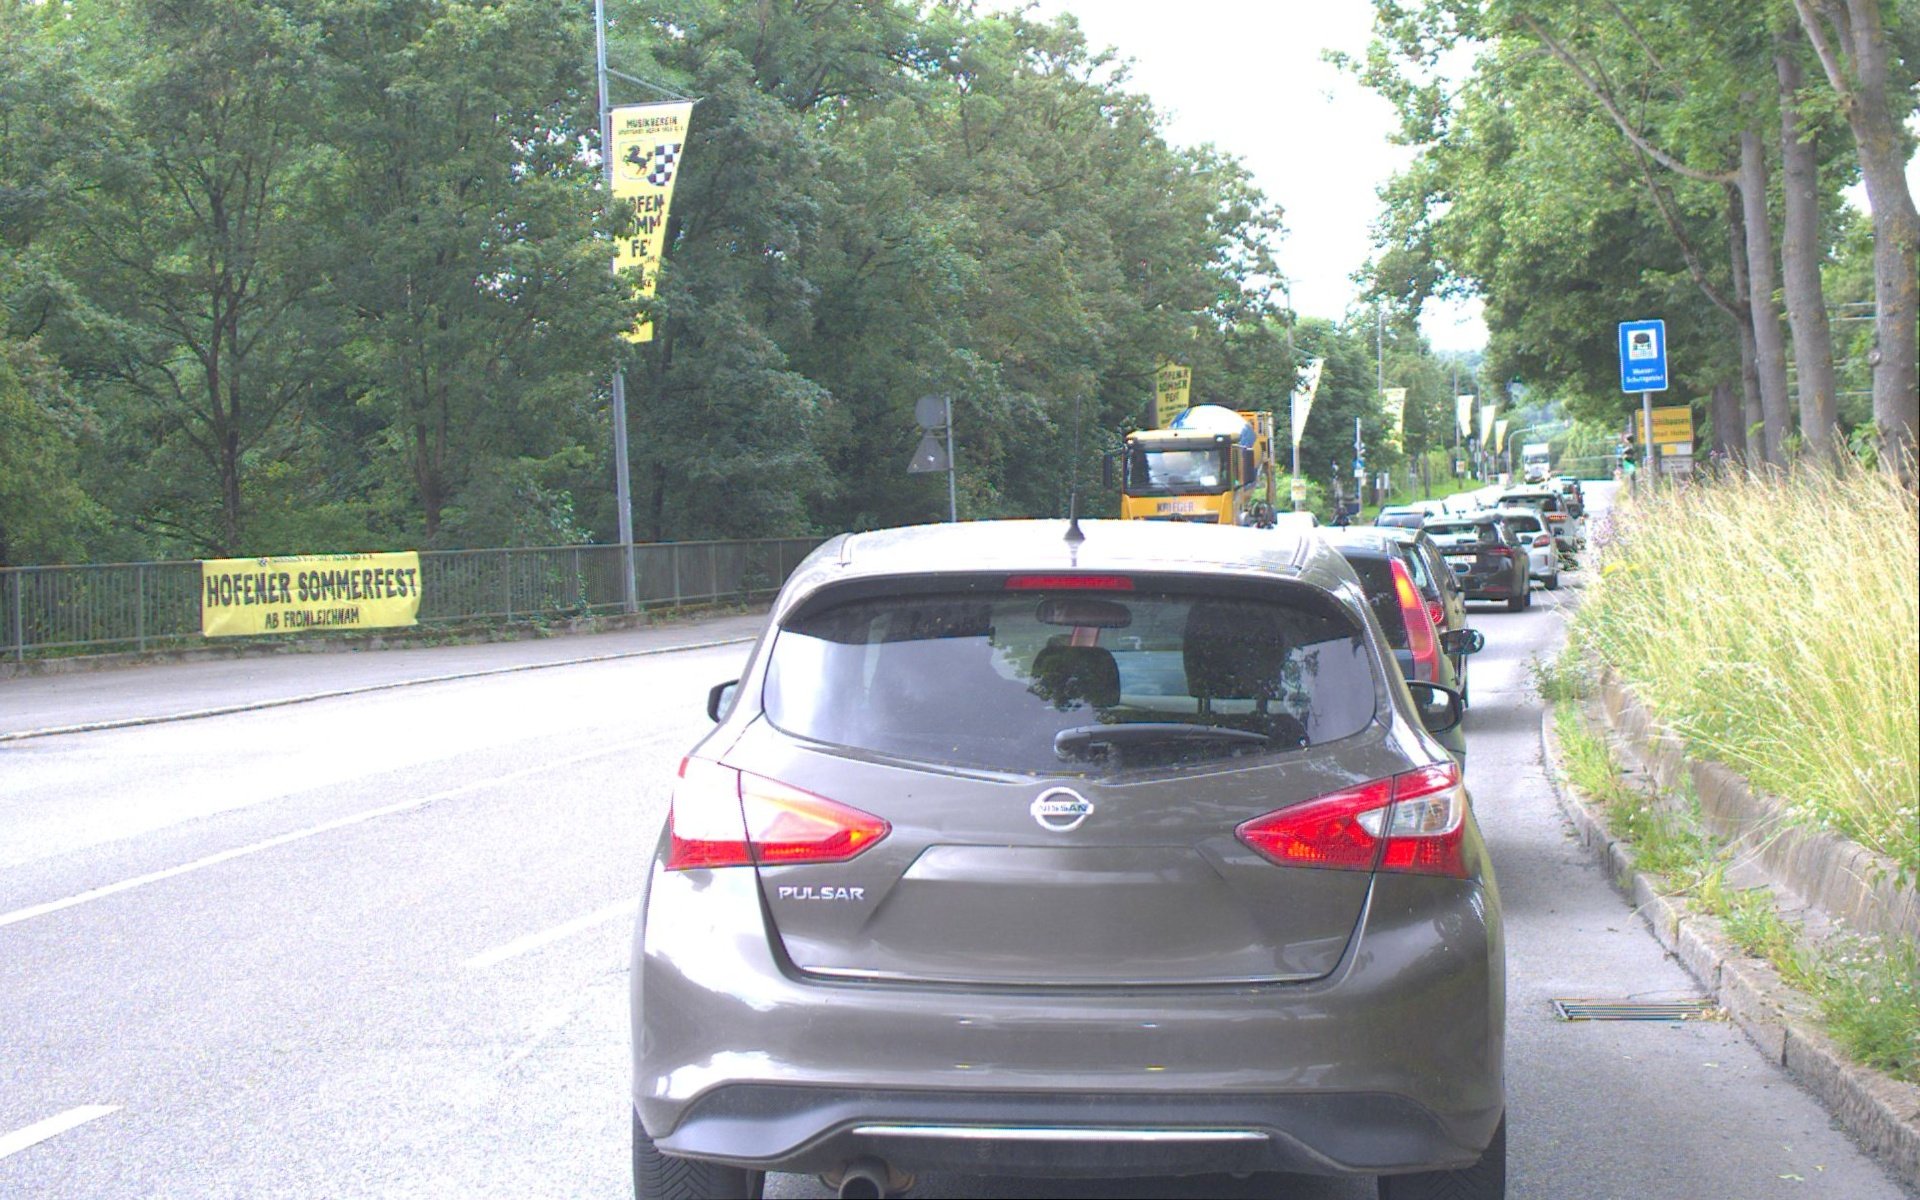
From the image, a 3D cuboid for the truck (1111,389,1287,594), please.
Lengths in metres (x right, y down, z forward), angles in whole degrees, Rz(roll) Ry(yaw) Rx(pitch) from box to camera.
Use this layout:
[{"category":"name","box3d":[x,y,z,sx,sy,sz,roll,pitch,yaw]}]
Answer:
[{"category":"truck","box3d":[5.073,-2.202,71.197,2.656,3.925,10.107,0,1,10]}]

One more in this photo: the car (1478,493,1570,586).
[{"category":"car","box3d":[12.812,-1.382,77.951,1.892,2.007,3.998,-1,1,11]}]

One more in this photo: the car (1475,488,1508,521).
[{"category":"car","box3d":[30.954,-5.556,200.156,1.719,1.687,3.724,-2,-1,10]}]

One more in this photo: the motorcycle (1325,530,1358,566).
[{"category":"motorcycle","box3d":[11.111,-1.523,100.150,0.745,1.030,1.887,-1,1,12]}]

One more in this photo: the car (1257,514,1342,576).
[{"category":"car","box3d":[8.455,-1.372,85.351,1.767,1.474,3.999,0,1,10]}]

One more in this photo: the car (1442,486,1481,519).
[{"category":"car","box3d":[24.437,-4.727,167.405,1.753,1.415,3.998,-2,-1,10]}]

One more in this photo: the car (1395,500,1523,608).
[{"category":"car","box3d":[7.394,-0.676,51.092,1.805,1.535,3.999,0,1,8]}]

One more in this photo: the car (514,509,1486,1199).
[{"category":"car","box3d":[0.246,0.576,8.265,1.775,1.489,3.999,0,0,5]}]

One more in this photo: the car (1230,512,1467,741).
[{"category":"car","box3d":[2.918,0.161,25.669,1.578,1.533,3.999,-2,0,7]}]

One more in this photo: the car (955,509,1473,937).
[{"category":"car","box3d":[1.072,0.454,14.702,1.893,1.568,3.999,-1,0,4]}]

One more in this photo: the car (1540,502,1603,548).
[{"category":"car","box3d":[19.788,-2.436,111.197,1.892,1.440,3.805,-1,1,11]}]

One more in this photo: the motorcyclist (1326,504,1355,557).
[{"category":"motorcyclist","box3d":[11.091,-2.024,100.233,0.745,1.533,0.790,-1,1,12]}]

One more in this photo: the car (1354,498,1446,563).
[{"category":"car","box3d":[10.869,-1.688,84.740,1.852,1.481,4.418,-1,0,12]}]

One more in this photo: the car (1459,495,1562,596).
[{"category":"car","box3d":[10.036,-0.964,62.546,1.719,1.687,3.998,-2,-1,10]}]

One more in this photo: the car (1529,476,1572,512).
[{"category":"car","box3d":[28.462,-5.094,165.597,1.892,1.647,3.998,-1,1,11]}]
